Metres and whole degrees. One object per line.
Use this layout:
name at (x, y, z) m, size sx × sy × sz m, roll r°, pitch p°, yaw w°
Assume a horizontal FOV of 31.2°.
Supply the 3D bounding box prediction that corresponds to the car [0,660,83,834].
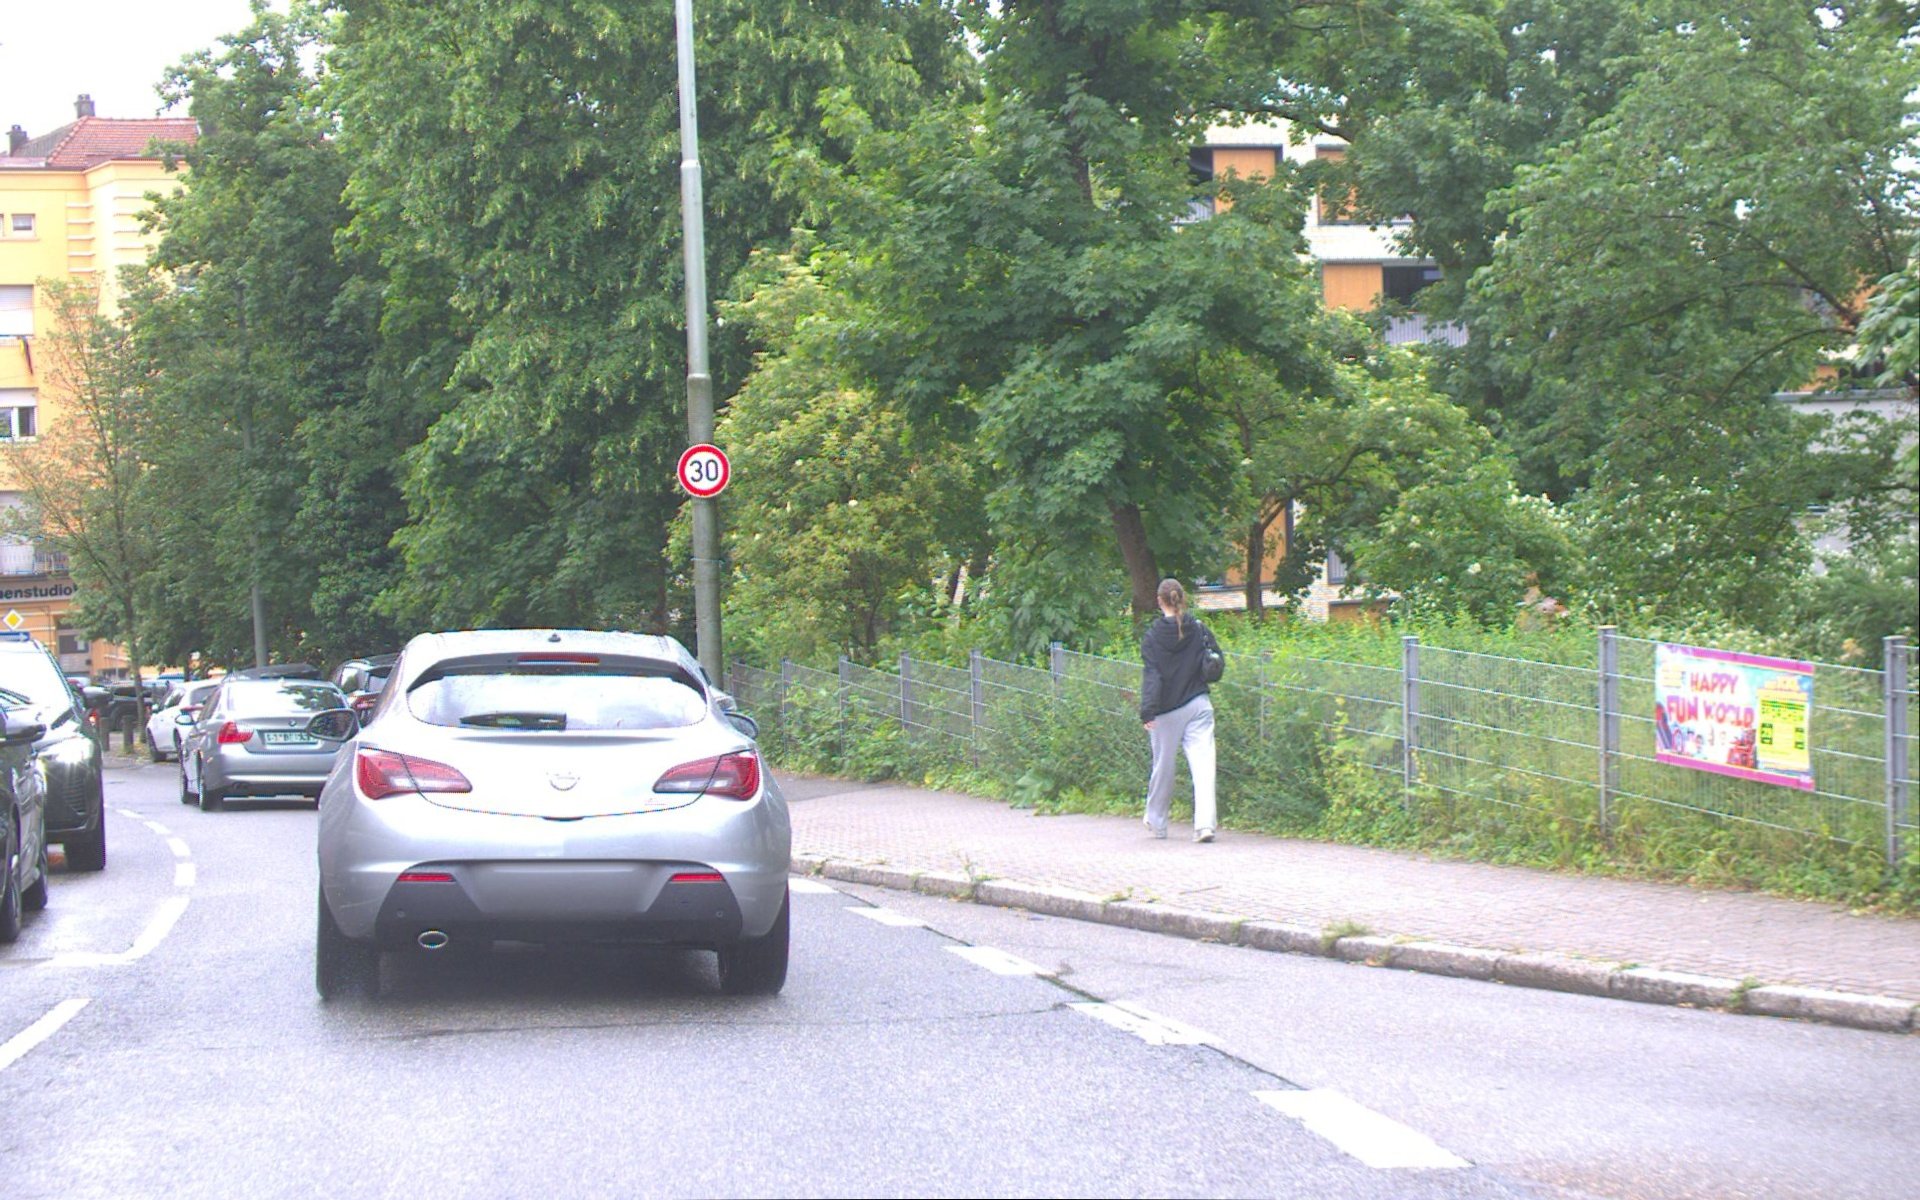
car at (-9.036, 1.320, 31.485) m, size 1.773 × 1.492 × 4.263 m, roll 0°, pitch -2°, yaw -17°

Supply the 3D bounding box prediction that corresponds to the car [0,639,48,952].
car at (-5.661, 0.970, 17.449) m, size 1.814 × 1.425 × 4.001 m, roll -3°, pitch -1°, yaw -13°

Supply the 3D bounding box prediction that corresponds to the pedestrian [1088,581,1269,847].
pedestrian at (1.382, 0.715, 21.894) m, size 0.765 × 1.600 × 0.966 m, roll -4°, pitch 0°, yaw -15°

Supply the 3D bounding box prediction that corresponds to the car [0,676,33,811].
car at (-12.230, 1.735, 41.983) m, size 1.654 × 1.563 × 4.001 m, roll -1°, pitch -1°, yaw -16°

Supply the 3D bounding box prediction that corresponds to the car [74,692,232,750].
car at (-21.561, 3.248, 91.861) m, size 3.772 × 1.425 × 1.782 m, roll 3°, pitch -4°, yaw -27°

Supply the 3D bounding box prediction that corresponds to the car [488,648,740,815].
car at (-3.421, 1.252, 33.416) m, size 1.649 × 1.400 × 3.814 m, roll -4°, pitch 0°, yaw -17°

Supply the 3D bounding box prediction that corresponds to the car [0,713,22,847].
car at (-11.579, 2.061, 39.617) m, size 1.382 × 1.407 × 3.457 m, roll -1°, pitch -1°, yaw -16°

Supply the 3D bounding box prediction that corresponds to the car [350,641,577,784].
car at (-6.280, 1.426, 43.113) m, size 1.815 × 1.490 × 4.000 m, roll -8°, pitch 0°, yaw -21°

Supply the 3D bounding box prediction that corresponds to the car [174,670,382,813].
car at (-7.446, 1.530, 37.304) m, size 1.775 × 1.425 × 3.786 m, roll -1°, pitch -2°, yaw -18°

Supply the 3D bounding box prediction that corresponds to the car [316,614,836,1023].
car at (-1.766, 0.801, 14.615) m, size 1.814 × 1.425 × 4.001 m, roll -1°, pitch 0°, yaw -12°

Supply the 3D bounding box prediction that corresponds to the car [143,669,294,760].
car at (-13.590, 2.105, 62.857) m, size 1.975 × 1.447 × 4.114 m, roll -5°, pitch -1°, yaw -21°

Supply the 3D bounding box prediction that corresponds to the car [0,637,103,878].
car at (-7.225, 1.105, 24.751) m, size 1.874 × 1.569 × 4.587 m, roll -2°, pitch -1°, yaw -16°

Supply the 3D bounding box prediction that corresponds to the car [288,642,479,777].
car at (-8.207, 1.521, 48.644) m, size 1.821 × 1.677 × 4.804 m, roll -4°, pitch 0°, yaw -19°
